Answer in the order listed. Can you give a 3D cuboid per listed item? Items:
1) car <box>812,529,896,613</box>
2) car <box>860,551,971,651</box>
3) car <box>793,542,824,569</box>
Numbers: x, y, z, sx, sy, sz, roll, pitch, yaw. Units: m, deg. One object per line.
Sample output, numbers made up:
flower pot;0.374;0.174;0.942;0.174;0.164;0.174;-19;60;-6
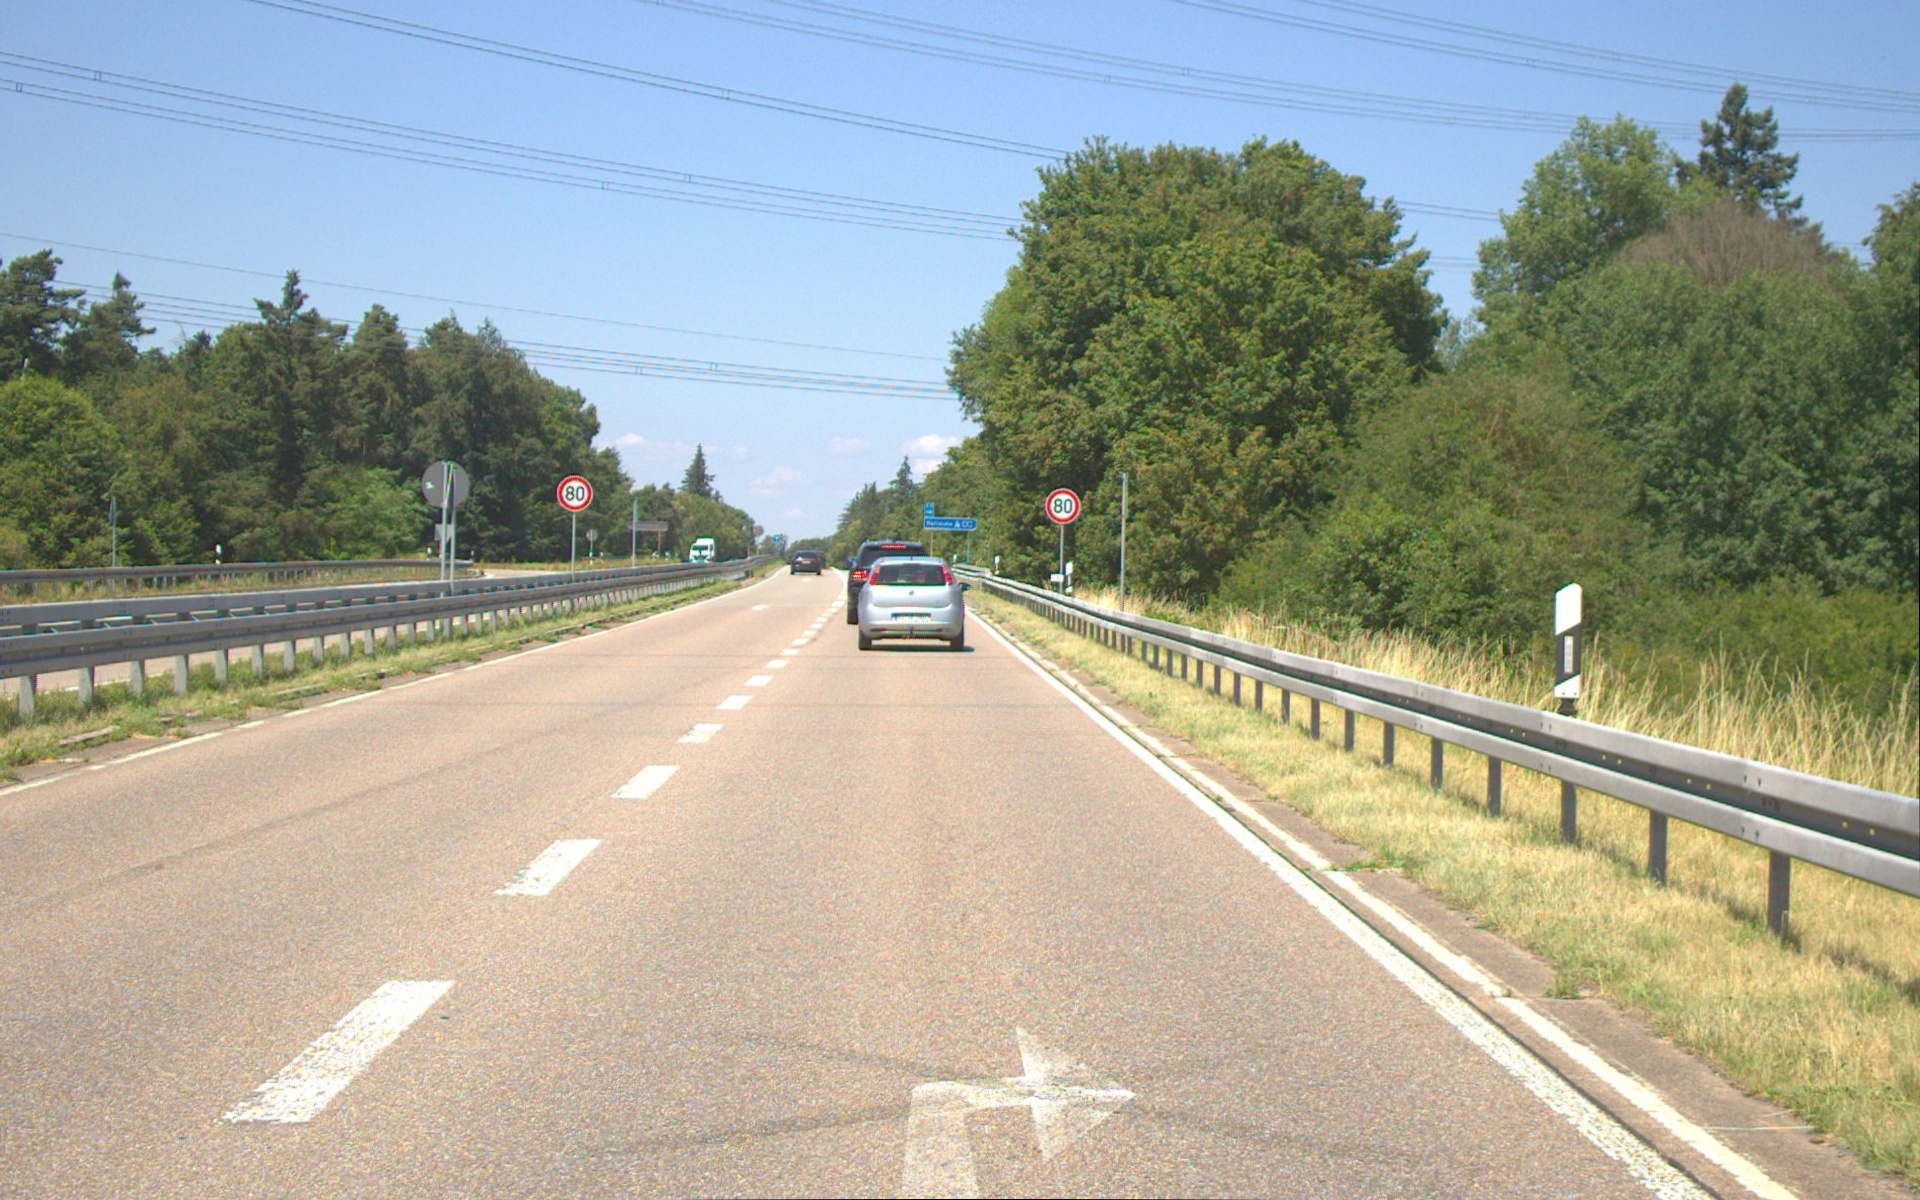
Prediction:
car;-2.257;-0.622;72.437;1.640;1.648;3.574;3;1;-3
car;-0.728;-0.003;54.661;1.640;1.463;3.419;3;1;-1
car;-8.879;-2.614;201.699;1.712;1.466;3.574;3;1;-2
